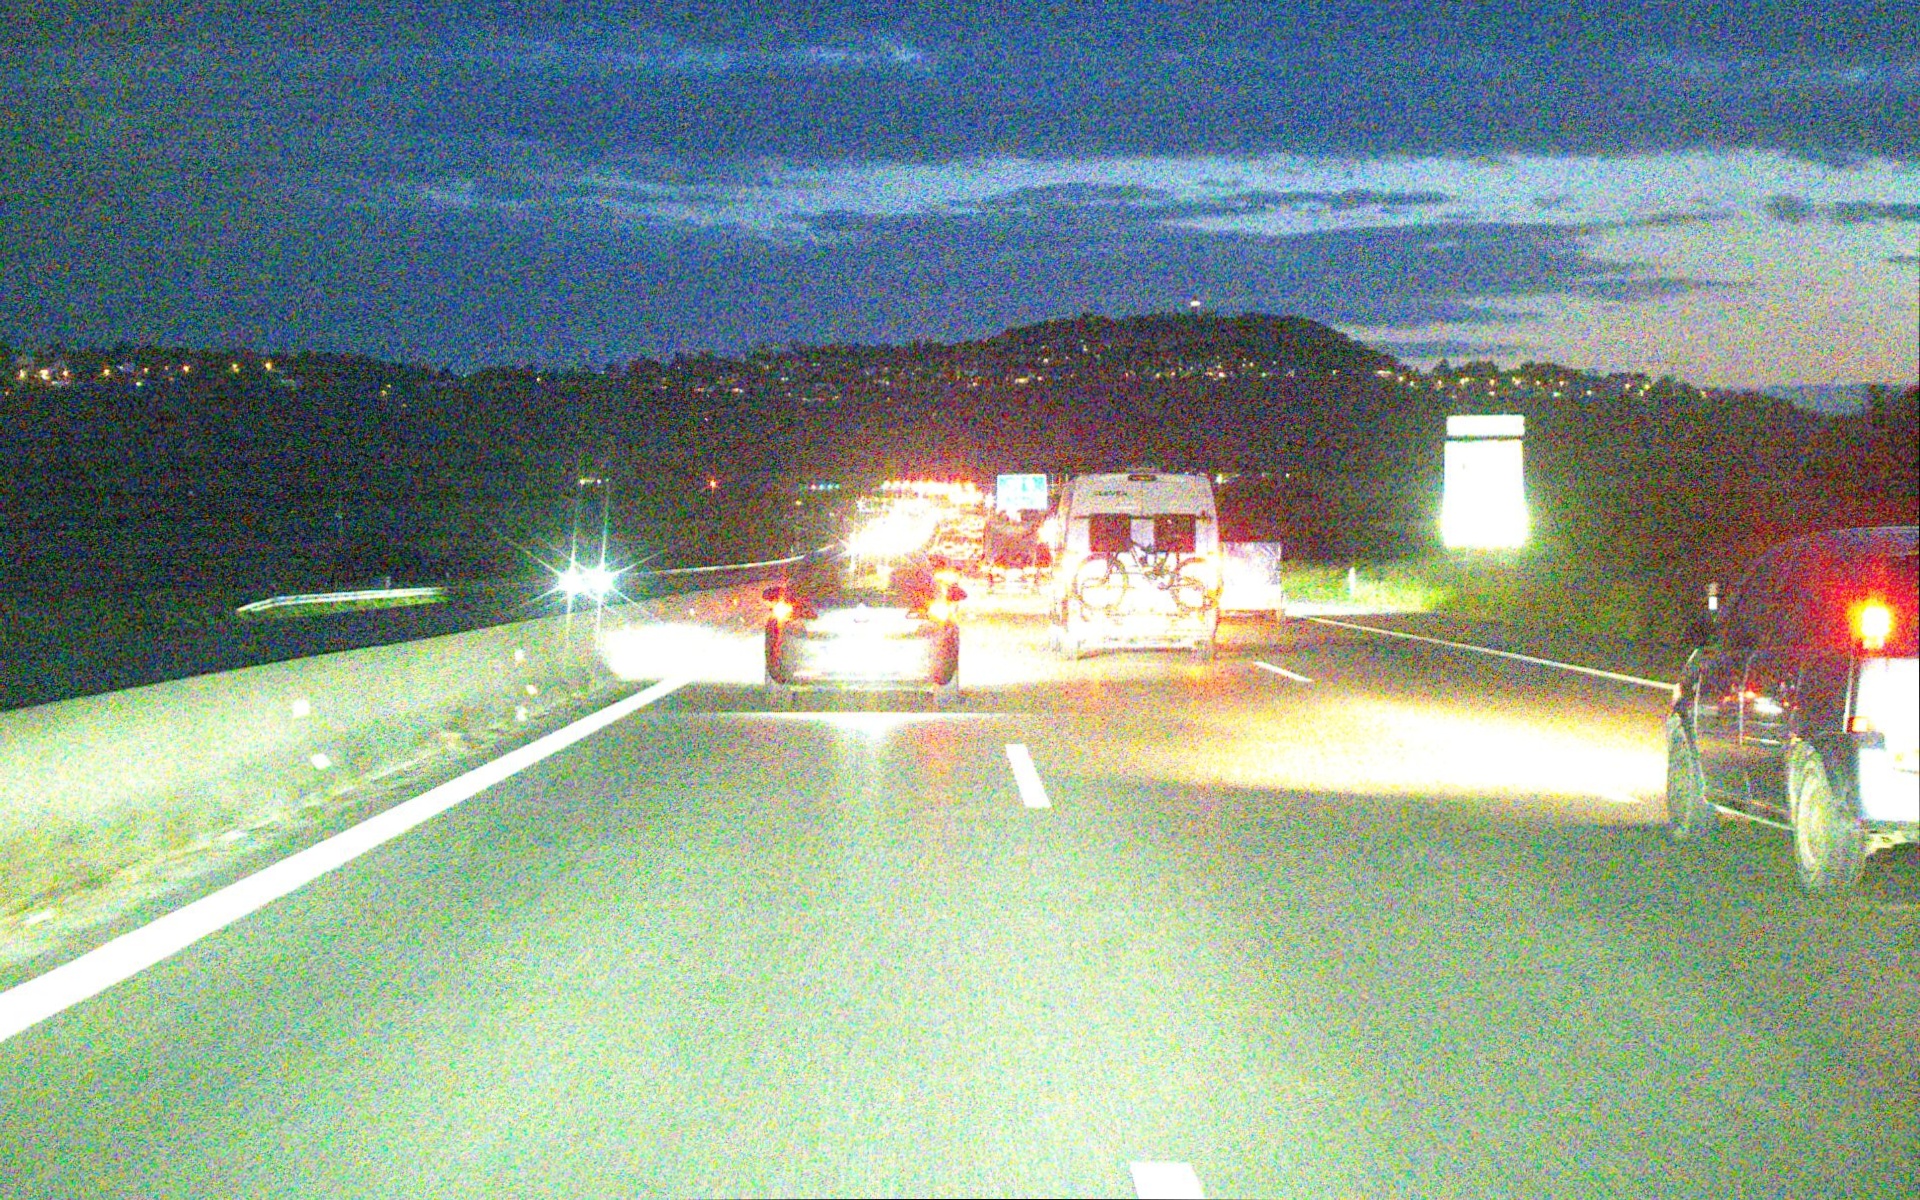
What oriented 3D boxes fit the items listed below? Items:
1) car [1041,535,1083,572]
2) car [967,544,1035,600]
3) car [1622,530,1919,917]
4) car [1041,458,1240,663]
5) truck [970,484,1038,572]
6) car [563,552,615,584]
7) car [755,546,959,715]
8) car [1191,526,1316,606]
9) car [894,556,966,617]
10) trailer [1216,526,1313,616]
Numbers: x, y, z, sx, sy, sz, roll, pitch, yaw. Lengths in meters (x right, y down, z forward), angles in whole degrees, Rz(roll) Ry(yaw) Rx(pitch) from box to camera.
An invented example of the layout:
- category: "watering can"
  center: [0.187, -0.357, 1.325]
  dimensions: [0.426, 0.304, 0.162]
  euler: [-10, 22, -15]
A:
- category: "car"
  center: [6.035, -2.756, 203.607]
  dimensions: [2.351, 2.068, 4.723]
  euler: [-1, 1, 0]
- category: "car"
  center: [1.454, -1.033, 123.810]
  dimensions: [2.351, 1.907, 4.723]
  euler: [-1, 1, 0]
- category: "car"
  center: [4.442, 0.471, 16.396]
  dimensions: [1.646, 1.591, 4.510]
  euler: [0, 1, -1]
- category: "car"
  center: [2.343, -0.568, 46.123]
  dimensions: [2.351, 2.526, 5.701]
  euler: [-1, 1, 0]
- category: "truck"
  center: [2.008, -3.312, 159.181]
  dimensions: [2.781, 3.942, 7.994]
  euler: [-1, 1, -1]
- category: "car"
  center: [-17.606, -1.535, 163.406]
  dimensions: [1.993, 1.414, 4.984]
  euler: [-3, 1, -2]
- category: "car"
  center: [-0.914, 0.242, 32.460]
  dimensions: [1.793, 1.464, 3.773]
  euler: [0, 1, 0]
- category: "car"
  center: [5.937, -0.722, 70.143]
  dimensions: [2.163, 1.558, 4.723]
  euler: [0, 1, 0]
- category: "car"
  center: [-0.741, -0.369, 88.218]
  dimensions: [1.744, 1.435, 4.368]
  euler: [-1, 1, 0]
- category: "trailer"
  center: [5.869, -0.570, 66.491]
  dimensions: [1.566, 1.687, 2.821]
  euler: [-1, 1, -1]
